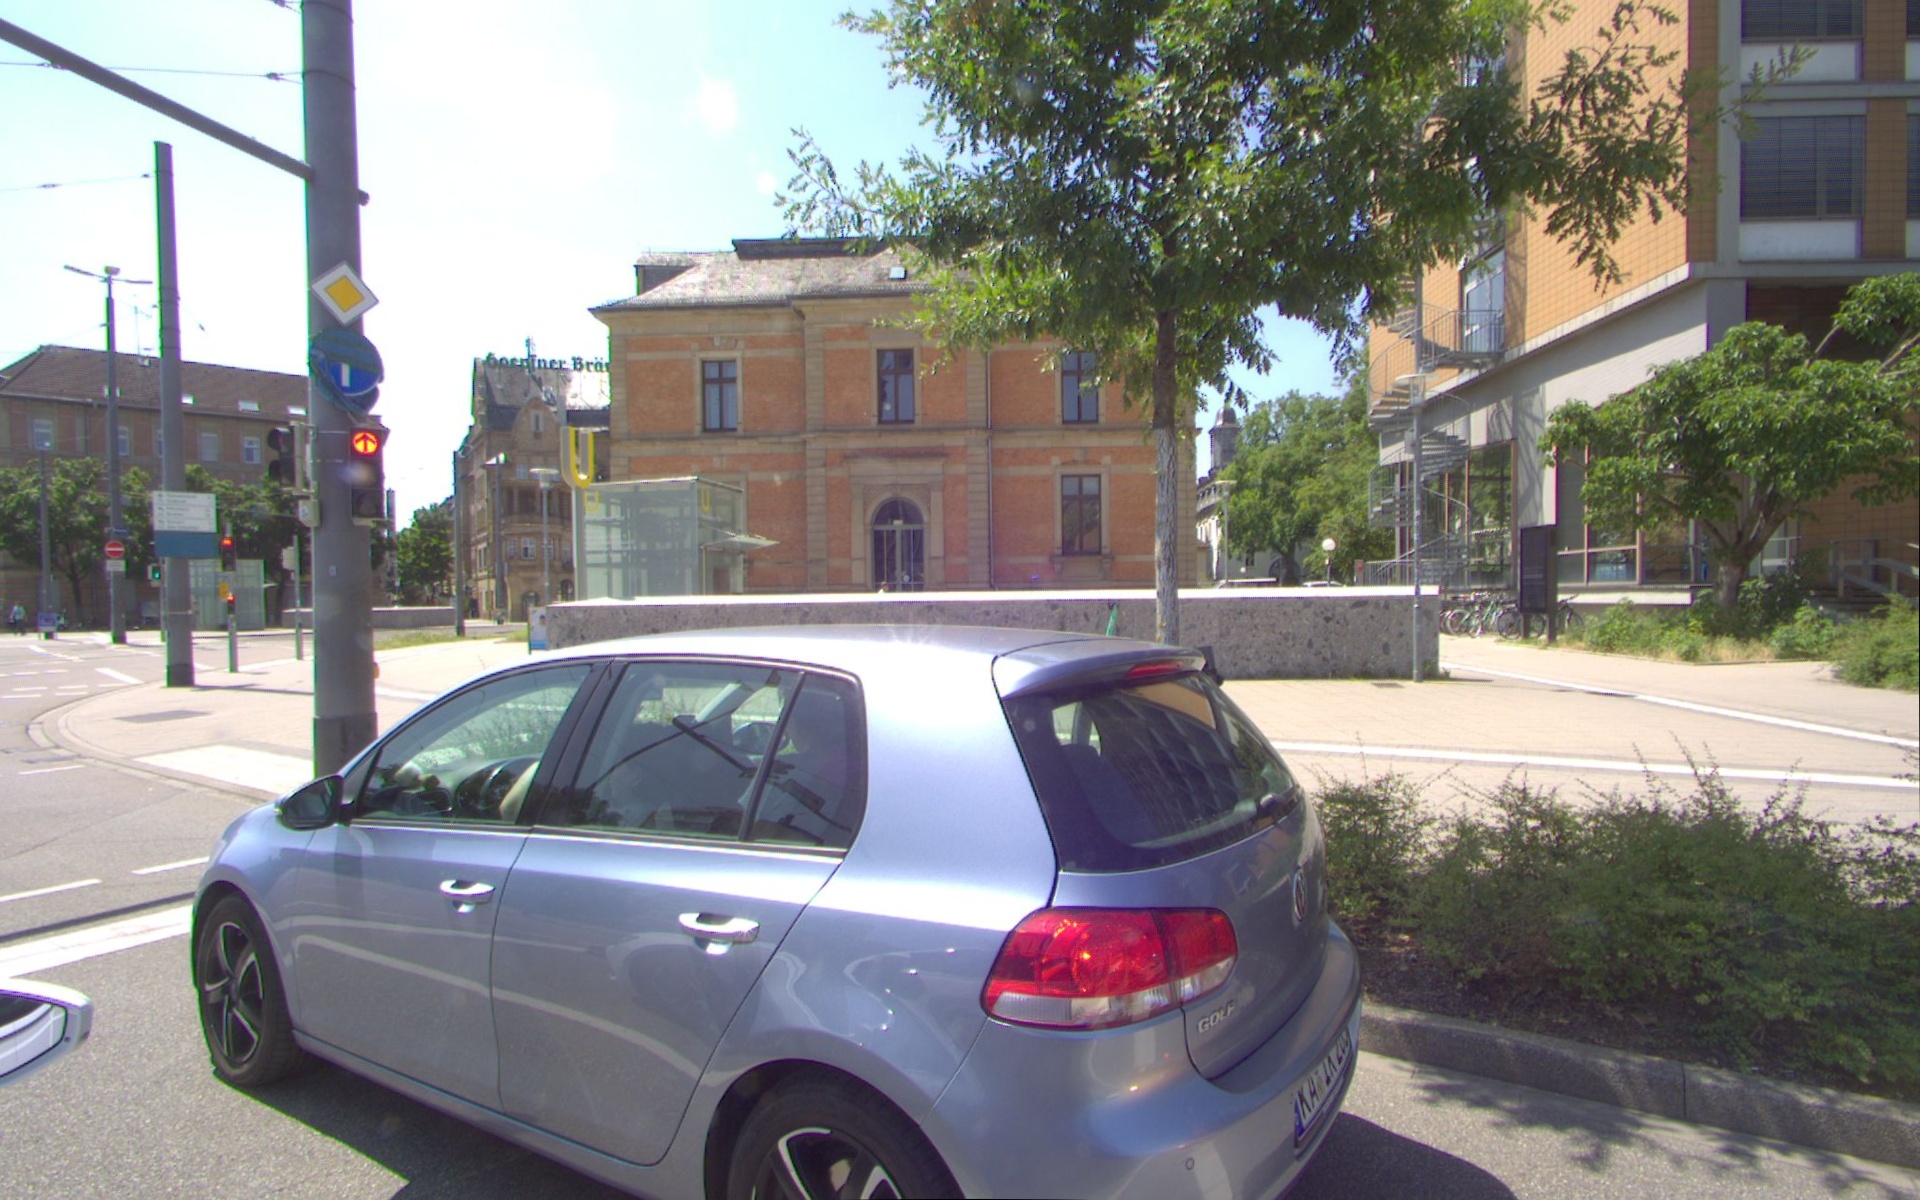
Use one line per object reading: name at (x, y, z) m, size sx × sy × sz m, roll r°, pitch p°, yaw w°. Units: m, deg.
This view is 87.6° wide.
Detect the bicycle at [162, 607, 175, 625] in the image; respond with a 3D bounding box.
bicycle at (-51.900, 1.049, 65.652) m, size 0.547 × 1.135 × 1.912 m, roll -1°, pitch 1°, yaw -41°

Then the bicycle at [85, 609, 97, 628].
bicycle at (-54.164, 1.137, 62.400) m, size 0.547 × 1.135 × 1.804 m, roll -1°, pitch 1°, yaw -41°

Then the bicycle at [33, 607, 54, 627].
bicycle at (-55.385, 1.023, 60.514) m, size 1.796 × 1.135 × 0.549 m, roll 0°, pitch 1°, yaw 36°

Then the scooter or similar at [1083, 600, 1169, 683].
scooter or similar at (2.452, 0.606, 14.786) m, size 1.227 × 1.186 × 0.458 m, roll 0°, pitch 1°, yaw 13°

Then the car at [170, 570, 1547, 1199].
car at (-0.546, 0.737, 2.999) m, size 3.946 × 1.478 × 1.648 m, roll 0°, pitch -1°, yaw 32°

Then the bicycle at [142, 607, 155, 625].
bicycle at (-52.540, 1.037, 64.814) m, size 0.547 × 1.135 × 1.854 m, roll -1°, pitch 1°, yaw -41°

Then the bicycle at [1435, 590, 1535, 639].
bicycle at (13.438, 0.382, 25.668) m, size 2.175 × 1.234 × 0.637 m, roll 0°, pitch -1°, yaw 5°

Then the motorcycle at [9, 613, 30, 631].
motorcycle at (-56.085, 1.308, 59.724) m, size 1.920 × 1.089 × 0.578 m, roll 0°, pitch 1°, yaw 36°

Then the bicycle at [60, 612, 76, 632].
bicycle at (-55.149, 1.361, 61.915) m, size 2.069 × 1.160 × 0.440 m, roll -2°, pitch -2°, yaw 39°

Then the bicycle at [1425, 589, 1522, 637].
bicycle at (13.535, 0.348, 26.445) m, size 2.175 × 1.234 × 0.637 m, roll 0°, pitch -1°, yaw 5°

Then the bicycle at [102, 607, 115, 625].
bicycle at (-53.494, 0.988, 62.907) m, size 0.547 × 1.135 × 1.804 m, roll -1°, pitch 1°, yaw -41°

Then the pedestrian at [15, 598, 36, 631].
pedestrian at (-49.250, 0.753, 52.782) m, size 0.627 × 1.731 × 0.462 m, roll 0°, pitch 1°, yaw 8°

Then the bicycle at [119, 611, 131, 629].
bicycle at (-52.971, 1.255, 63.507) m, size 0.547 × 1.135 × 1.872 m, roll -1°, pitch 1°, yaw -41°

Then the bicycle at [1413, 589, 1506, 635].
bicycle at (13.583, 0.332, 27.266) m, size 2.175 × 1.234 × 0.637 m, roll 0°, pitch -1°, yaw 5°
